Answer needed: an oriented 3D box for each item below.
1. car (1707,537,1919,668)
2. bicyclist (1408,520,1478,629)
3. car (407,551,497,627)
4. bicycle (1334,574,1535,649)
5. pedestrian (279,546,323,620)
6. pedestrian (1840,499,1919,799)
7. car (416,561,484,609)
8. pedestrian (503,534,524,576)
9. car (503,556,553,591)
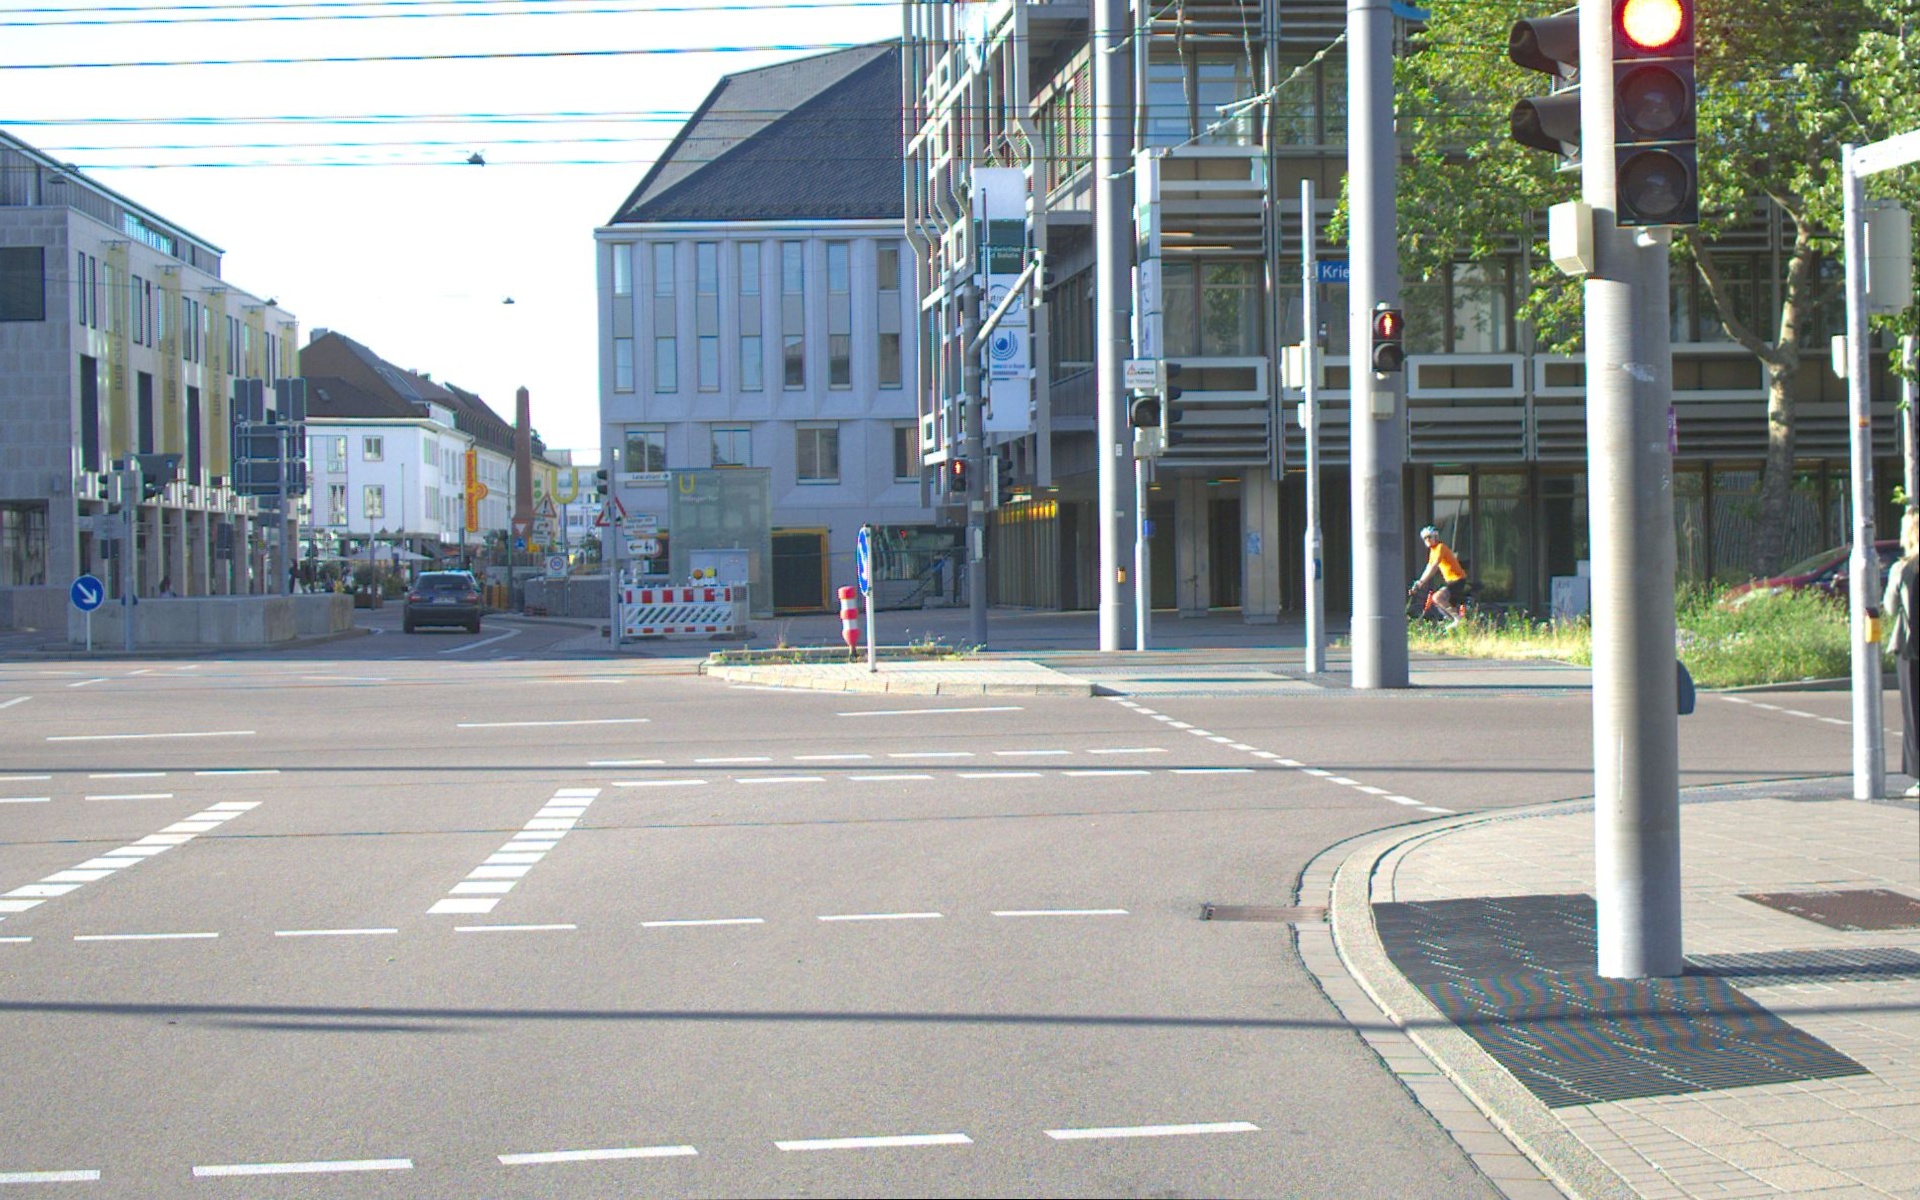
[{"bbox_3d":[12.488,0.000,46.440,4.287,1.678,1.826,-1,1,-11],"label":"car"},{"bbox_3d":[6.617,-0.355,47.132,0.822,1.469,0.652,-1,1,-4],"label":"bicyclist"},{"bbox_3d":[-11.691,-0.268,79.247,1.819,1.678,4.001,-1,1,-5],"label":"car"},{"bbox_3d":[6.495,0.153,47.124,2.568,0.972,1.047,-1,1,-3],"label":"bicycle"},{"bbox_3d":[-16.054,-0.413,83.750,0.899,1.776,0.808,-1,1,-1],"label":"pedestrian"},{"bbox_3d":[5.345,0.252,18.879,0.765,1.608,0.874,-1,1,-2],"label":"pedestrian"},{"bbox_3d":[-16.017,-0.480,108.084,1.658,1.453,3.542,-1,1,-1],"label":"car"},{"bbox_3d":[-21.396,-2.156,164.690,0.910,1.958,0.823,1,0,-1],"label":"pedestrian"},{"bbox_3d":[-18.277,-1.125,145.572,1.658,1.453,3.542,-1,1,-1],"label":"car"}]
